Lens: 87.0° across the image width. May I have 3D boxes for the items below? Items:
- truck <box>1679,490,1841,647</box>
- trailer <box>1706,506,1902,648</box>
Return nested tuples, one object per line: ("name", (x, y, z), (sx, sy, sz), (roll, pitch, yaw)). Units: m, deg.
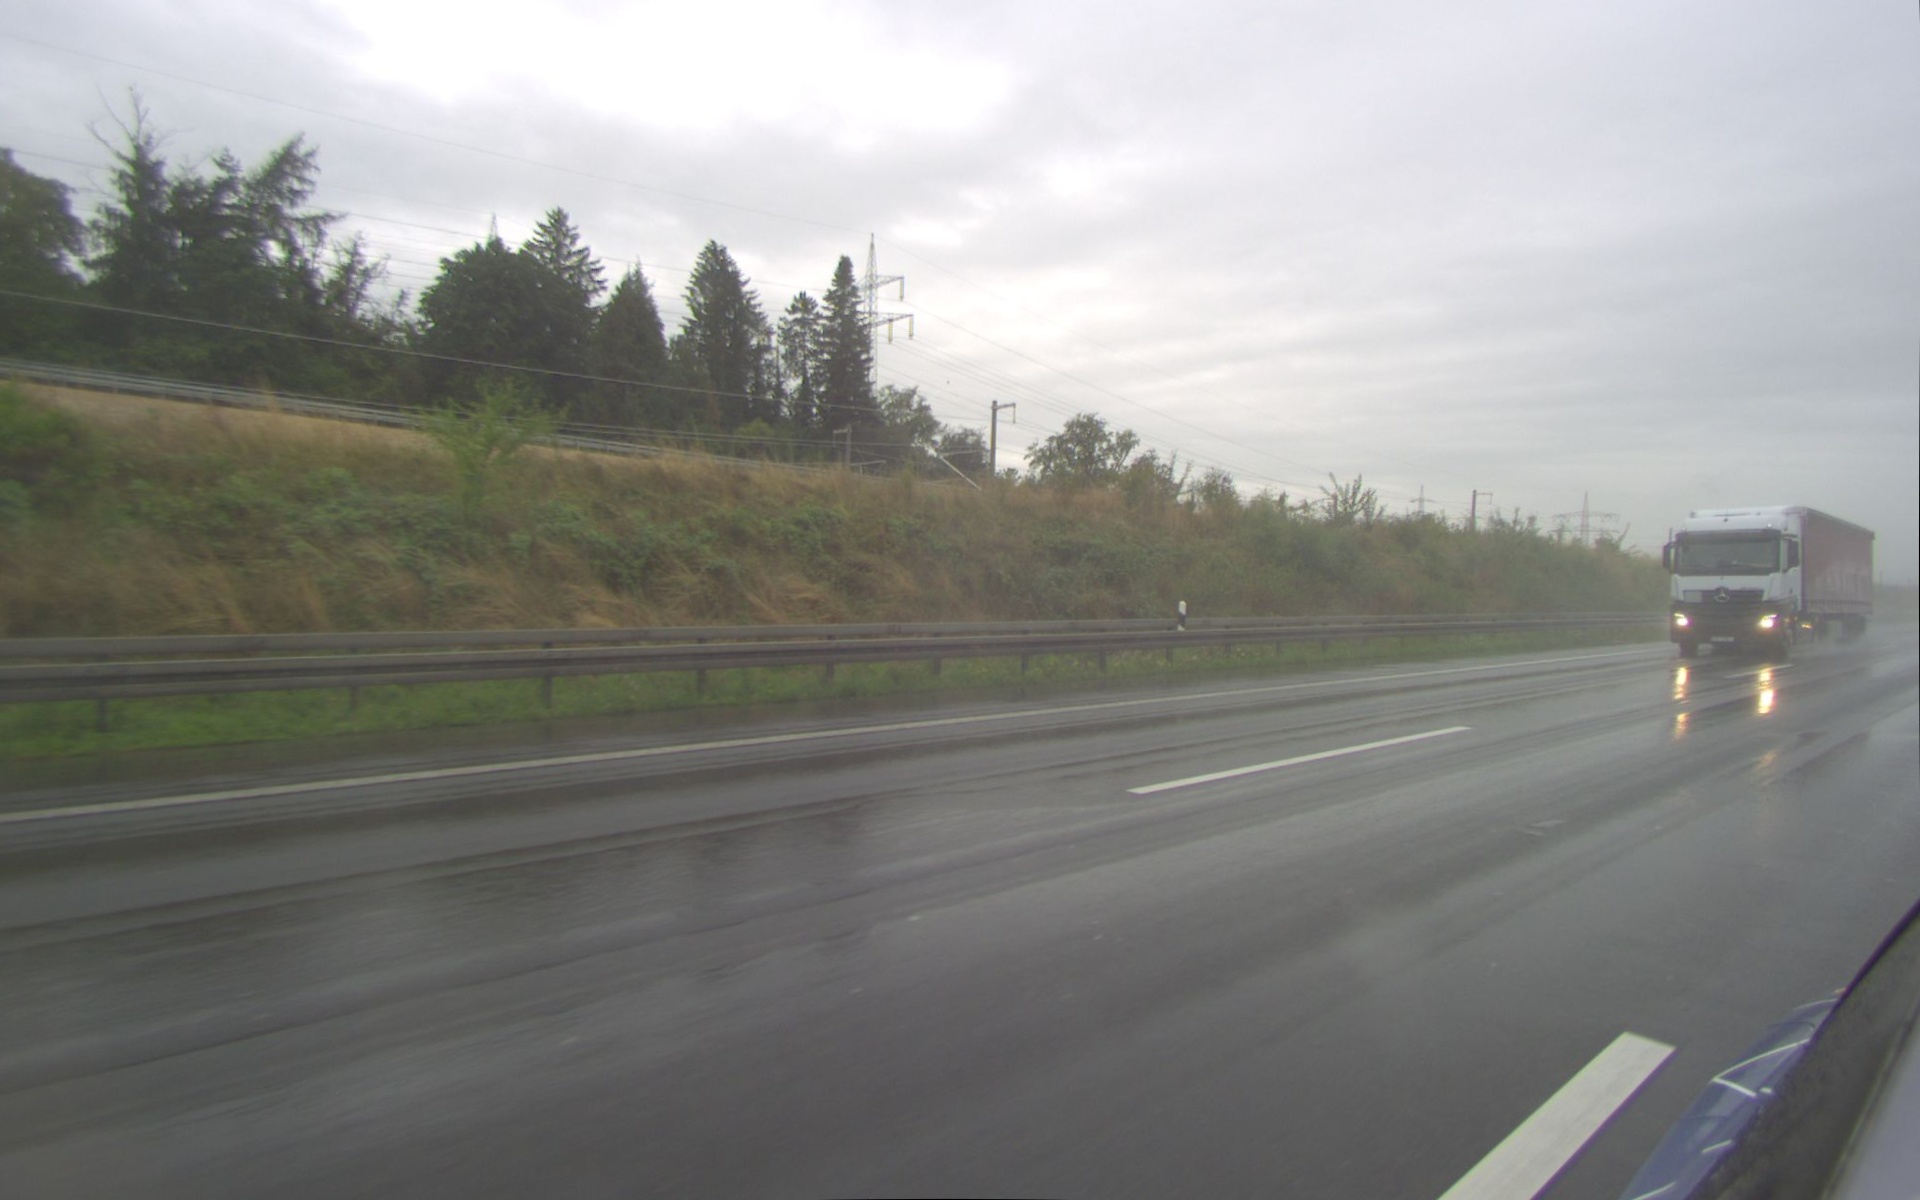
("truck", (22.474, -0.783, 28.324), (6.090, 3.938, 2.456), (1, 0, -41))
("trailer", (28.315, -0.574, 33.441), (16.255, 3.813, 2.484), (0, 0, -41))
